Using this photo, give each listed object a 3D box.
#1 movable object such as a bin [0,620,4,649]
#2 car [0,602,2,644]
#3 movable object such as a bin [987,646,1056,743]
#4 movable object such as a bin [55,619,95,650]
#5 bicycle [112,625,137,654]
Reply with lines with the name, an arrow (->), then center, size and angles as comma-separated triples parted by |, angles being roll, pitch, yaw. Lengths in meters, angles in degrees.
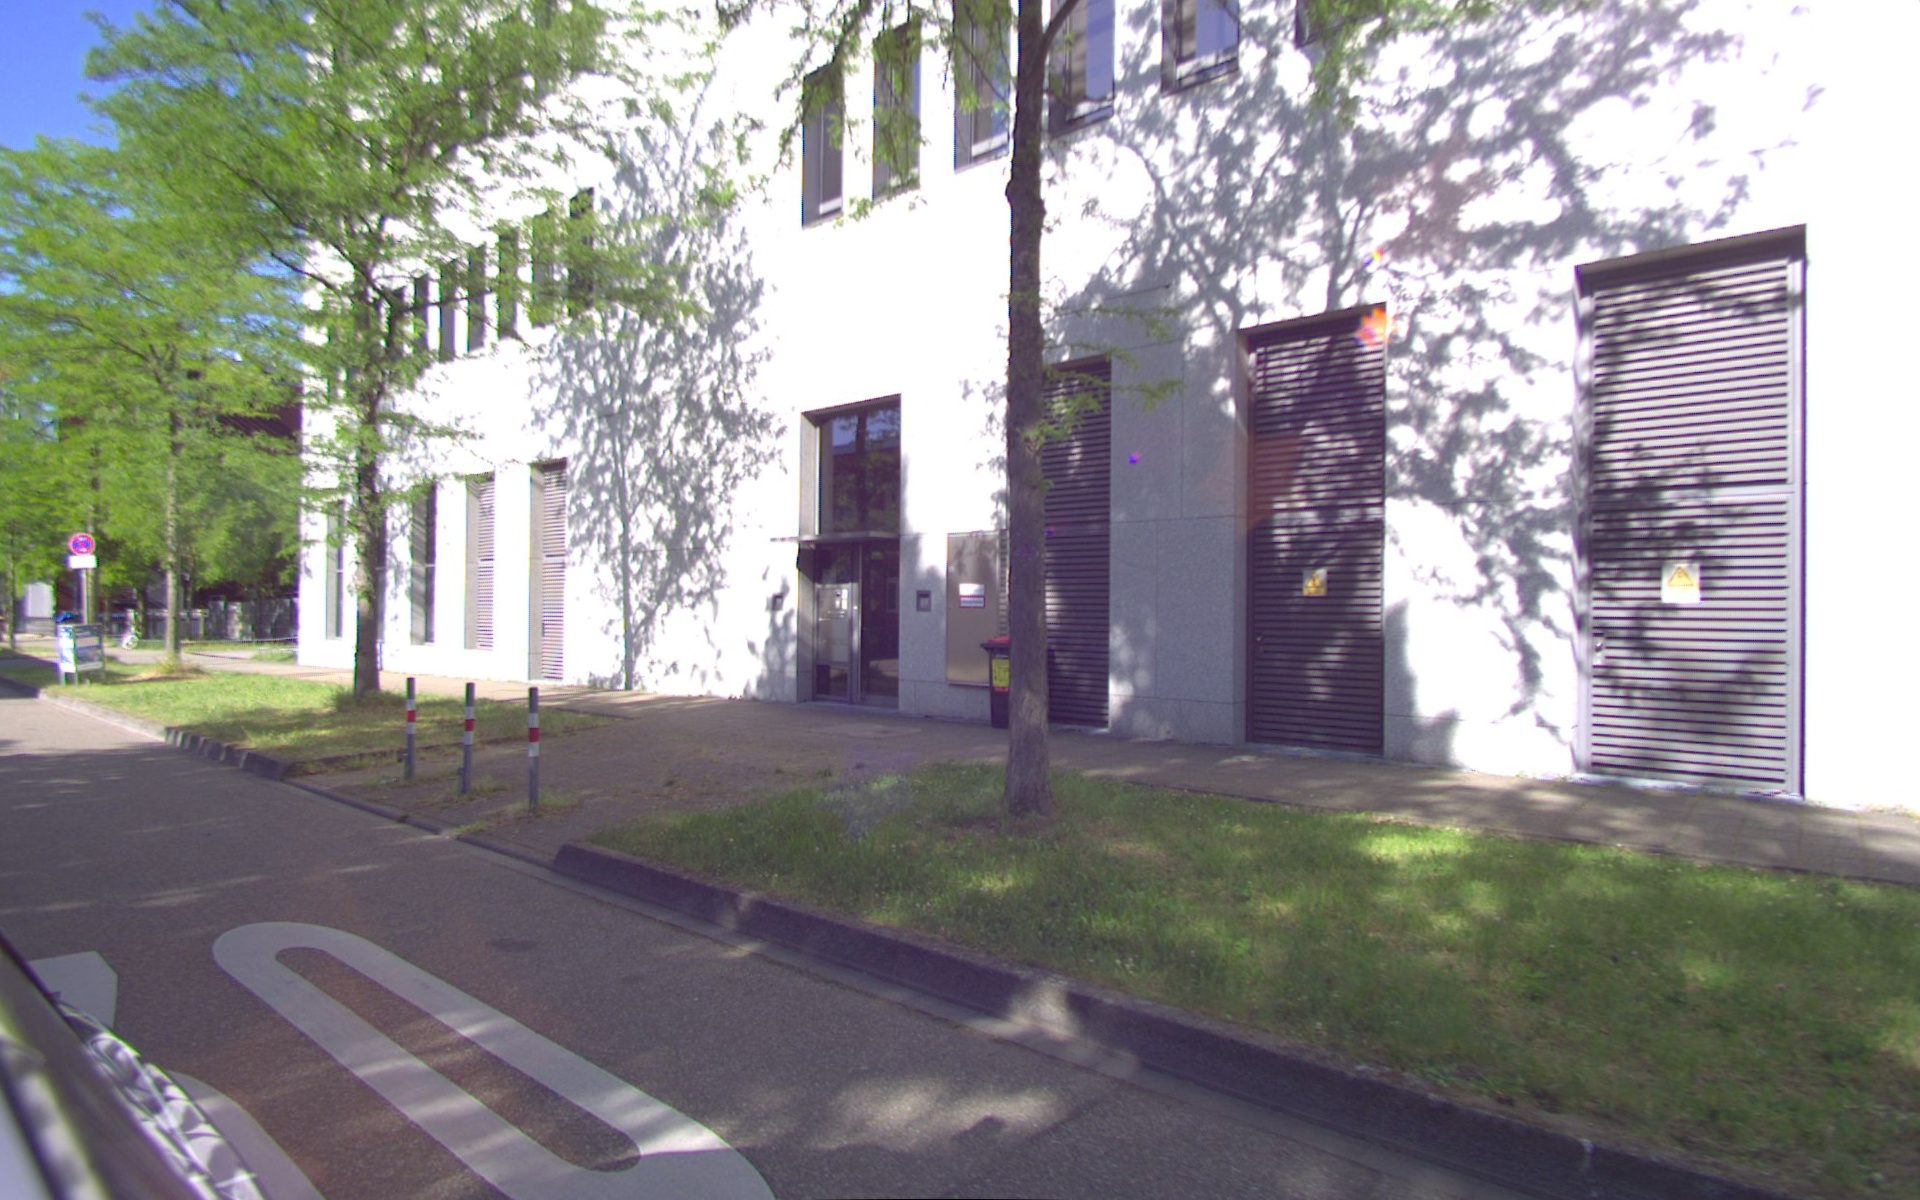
movable object such as a bin -> -52.772, 1.887, 54.564 | 1.342, 1.580, 1.508 | -1, -1, 31
car -> -60.363, 1.452, 59.690 | 1.985, 2.560, 5.420 | -1, 1, 40
movable object such as a bin -> 0.706, 1.067, 11.624 | 0.543, 1.048, 0.587 | -1, -1, 39
movable object such as a bin -> -46.141, 1.795, 52.757 | 1.501, 1.580, 1.348 | 0, -1, -44
bicycle -> -36.021, 1.707, 43.625 | 1.727, 1.201, 0.594 | -1, -1, 42
